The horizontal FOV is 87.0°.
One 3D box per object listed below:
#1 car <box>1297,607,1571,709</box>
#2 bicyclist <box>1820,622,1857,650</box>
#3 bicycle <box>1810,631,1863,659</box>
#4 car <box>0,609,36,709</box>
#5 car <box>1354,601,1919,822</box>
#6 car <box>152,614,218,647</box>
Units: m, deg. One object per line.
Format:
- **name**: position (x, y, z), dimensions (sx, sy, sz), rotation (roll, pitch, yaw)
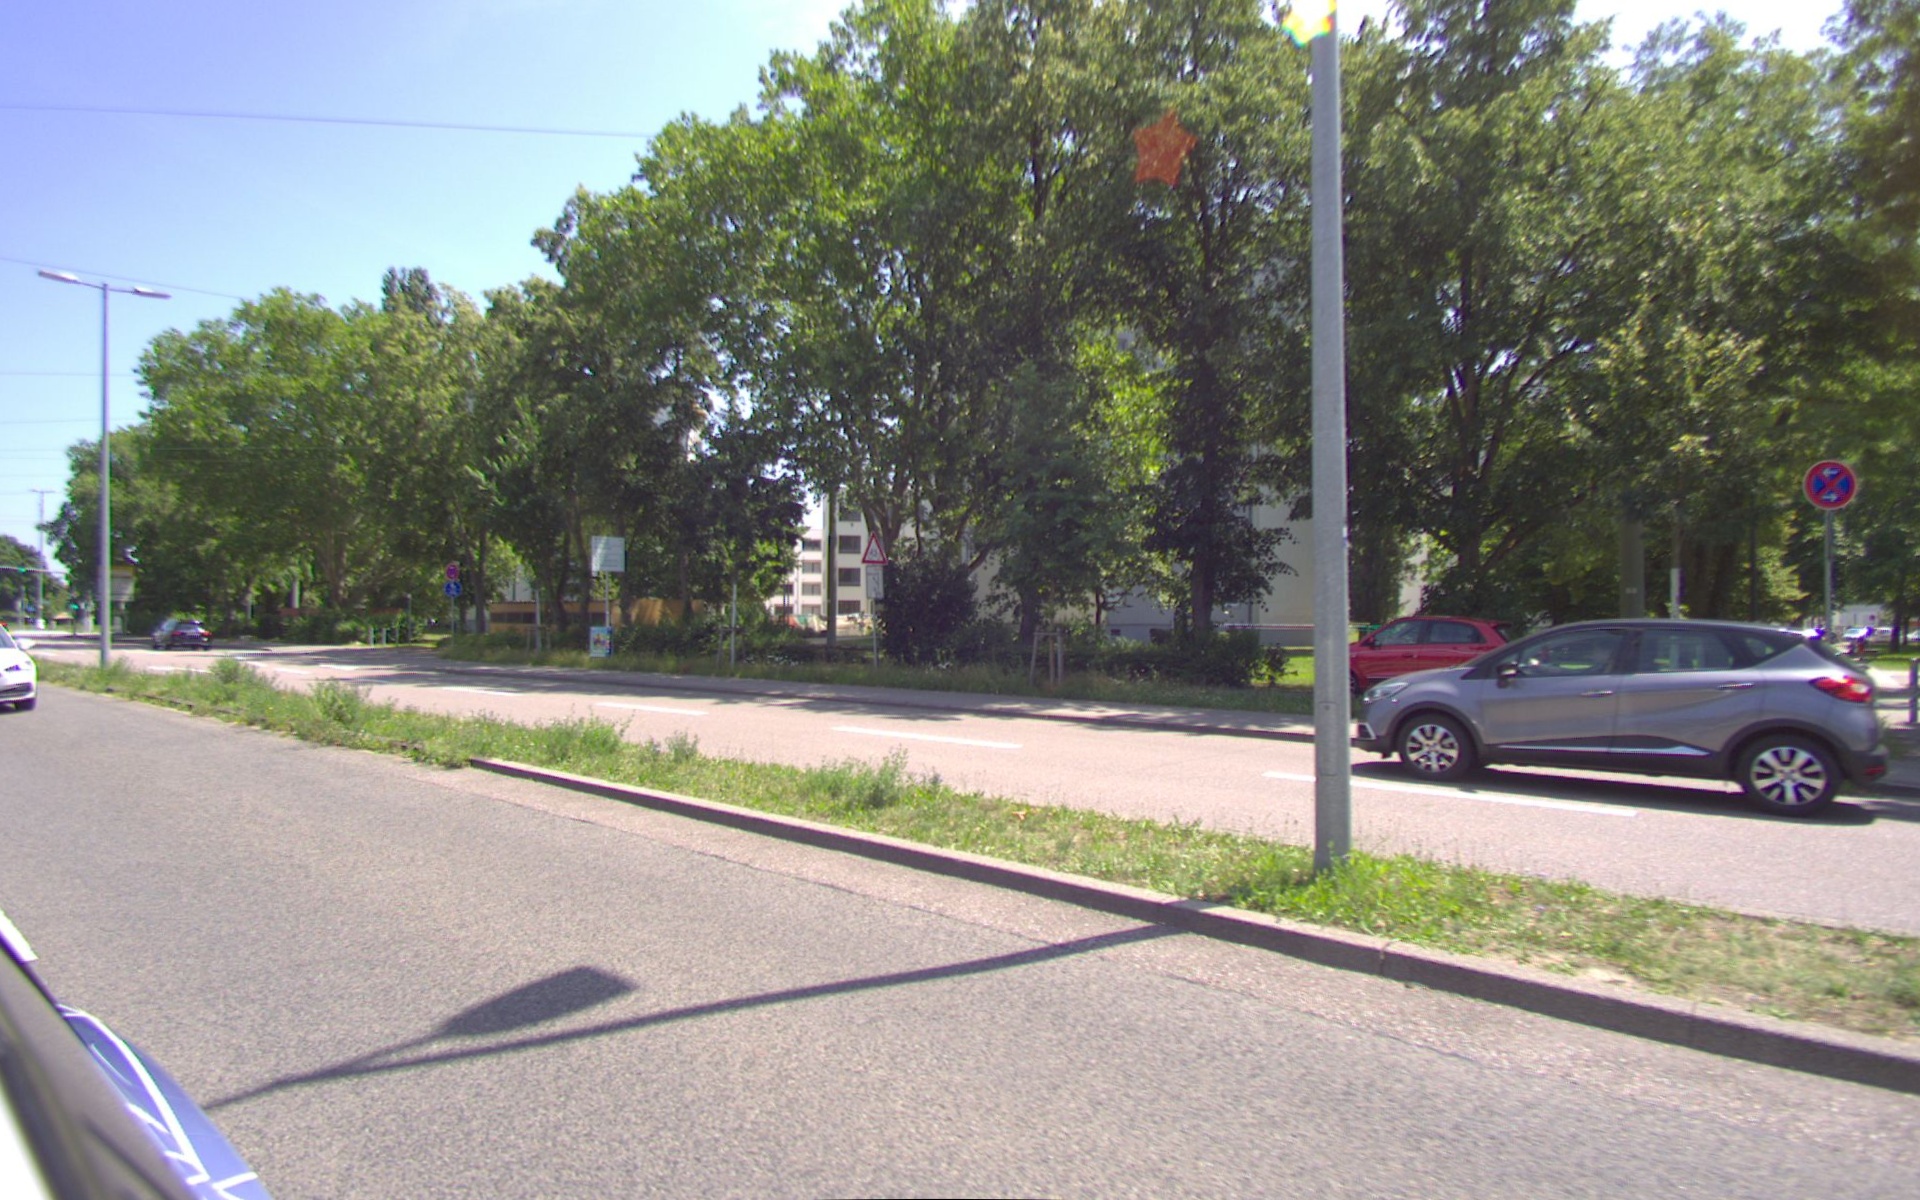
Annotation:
- **car**: position (8.292, 0.956, 17.875), dimensions (3.999, 1.597, 1.972), rotation (-1, -2, 42)
- **bicyclist**: position (41.702, 1.703, 48.042), dimensions (1.752, 1.294, 0.768), rotation (1, -2, -30)
- **bicycle**: position (41.486, 2.110, 47.884), dimensions (2.963, 1.254, 0.941), rotation (1, -2, -30)
- **car**: position (-16.071, 0.901, 15.909), dimensions (4.108, 1.479, 1.750), rotation (-1, 0, 40)
- **car**: position (5.942, 0.841, 9.172), dimensions (4.079, 1.566, 1.750), rotation (0, -3, 39)
- **car**: position (-36.969, 1.450, 48.260), dimensions (4.635, 1.520, 1.721), rotation (-1, -3, 43)
